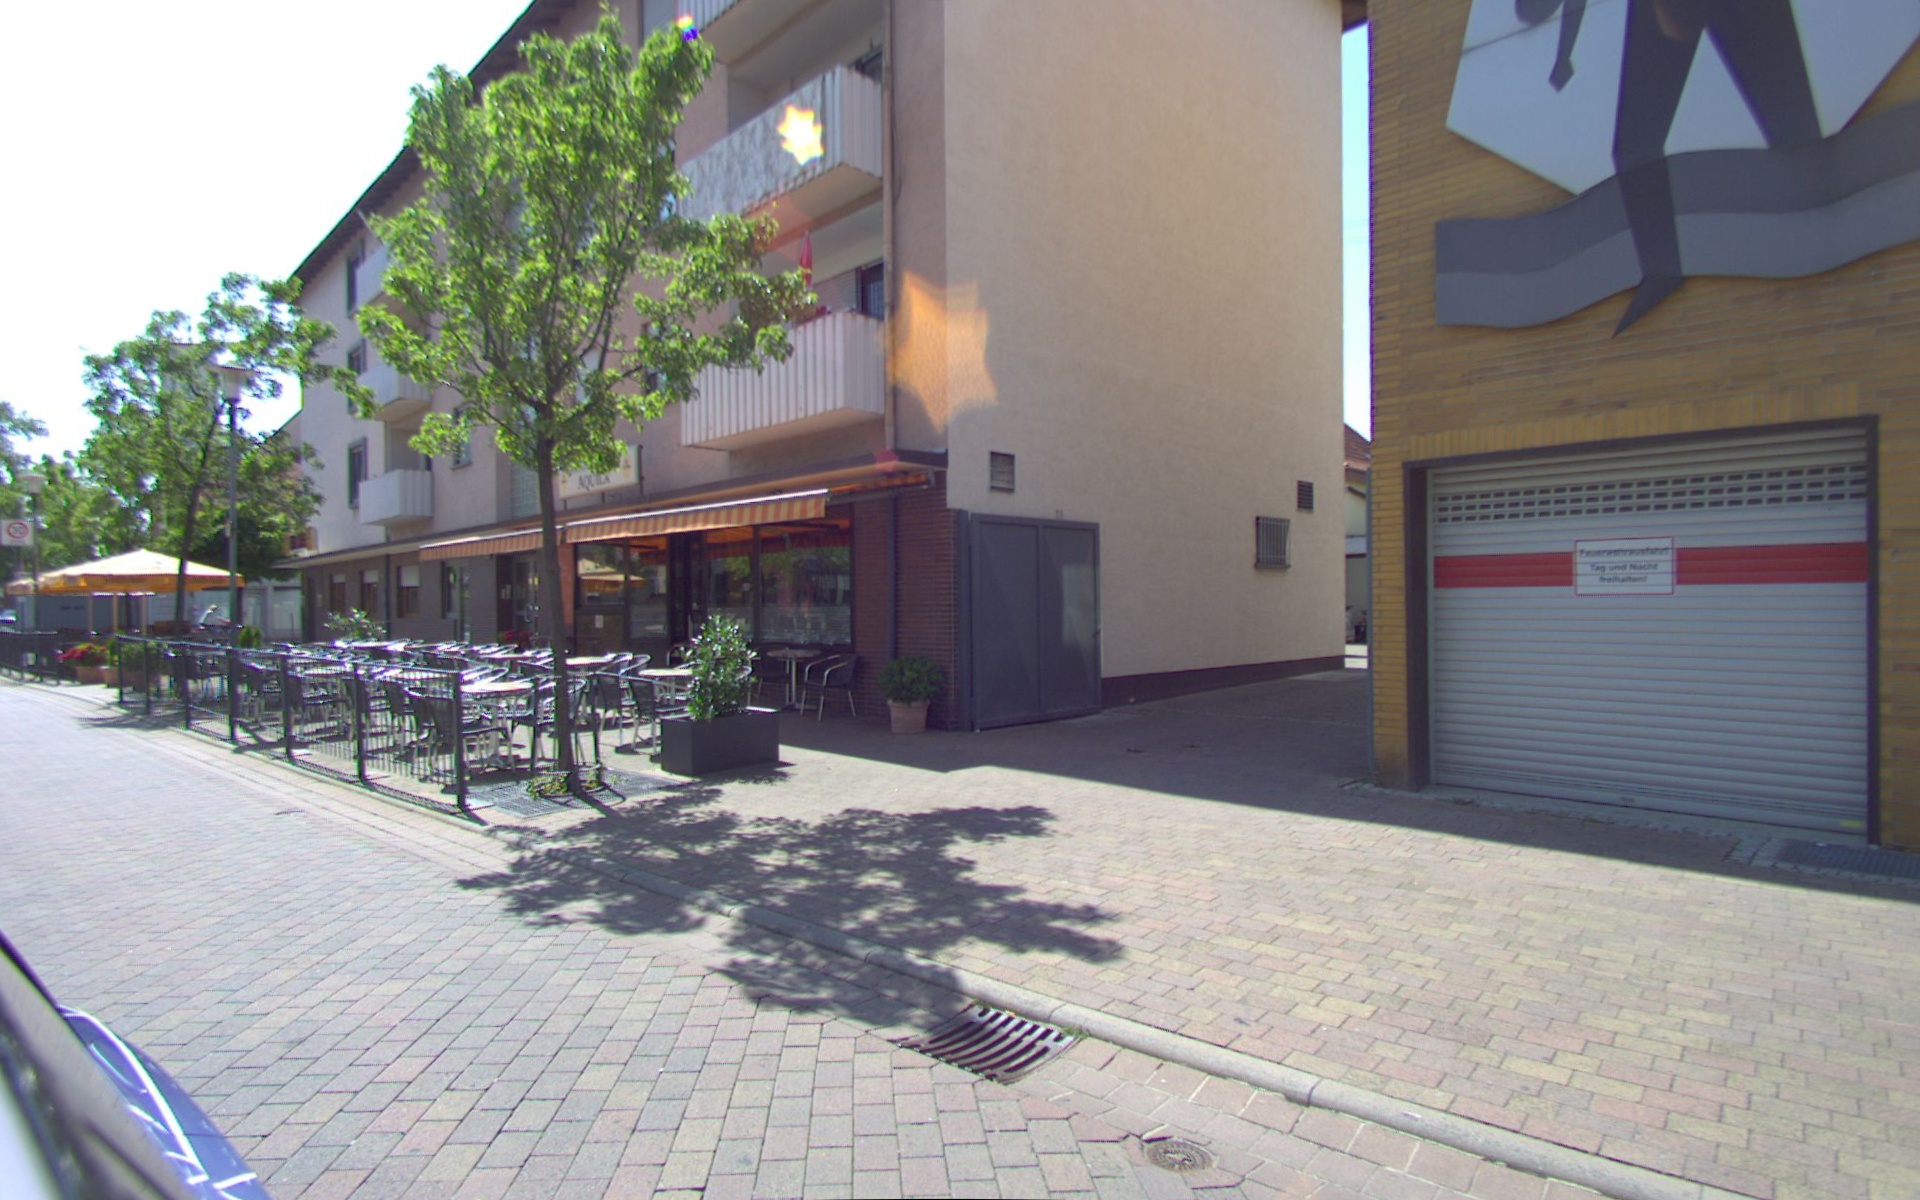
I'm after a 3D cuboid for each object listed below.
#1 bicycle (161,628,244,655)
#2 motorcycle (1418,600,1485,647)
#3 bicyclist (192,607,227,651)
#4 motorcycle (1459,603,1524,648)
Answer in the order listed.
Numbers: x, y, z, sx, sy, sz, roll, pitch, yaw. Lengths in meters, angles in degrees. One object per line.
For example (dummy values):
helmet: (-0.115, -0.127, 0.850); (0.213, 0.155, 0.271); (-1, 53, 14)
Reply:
bicycle: (-27.631, 1.498, 36.930); (0.774, 0.932, 2.312); (-1, -1, 40)
motorcycle: (13.238, 0.610, 27.204); (2.335, 1.218, 0.826); (-1, 0, -43)
bicyclist: (-27.504, 1.039, 37.094); (0.787, 1.589, 0.849); (-1, -1, 40)
motorcycle: (13.933, 0.643, 26.491); (2.187, 1.117, 0.810); (-1, 0, -43)
